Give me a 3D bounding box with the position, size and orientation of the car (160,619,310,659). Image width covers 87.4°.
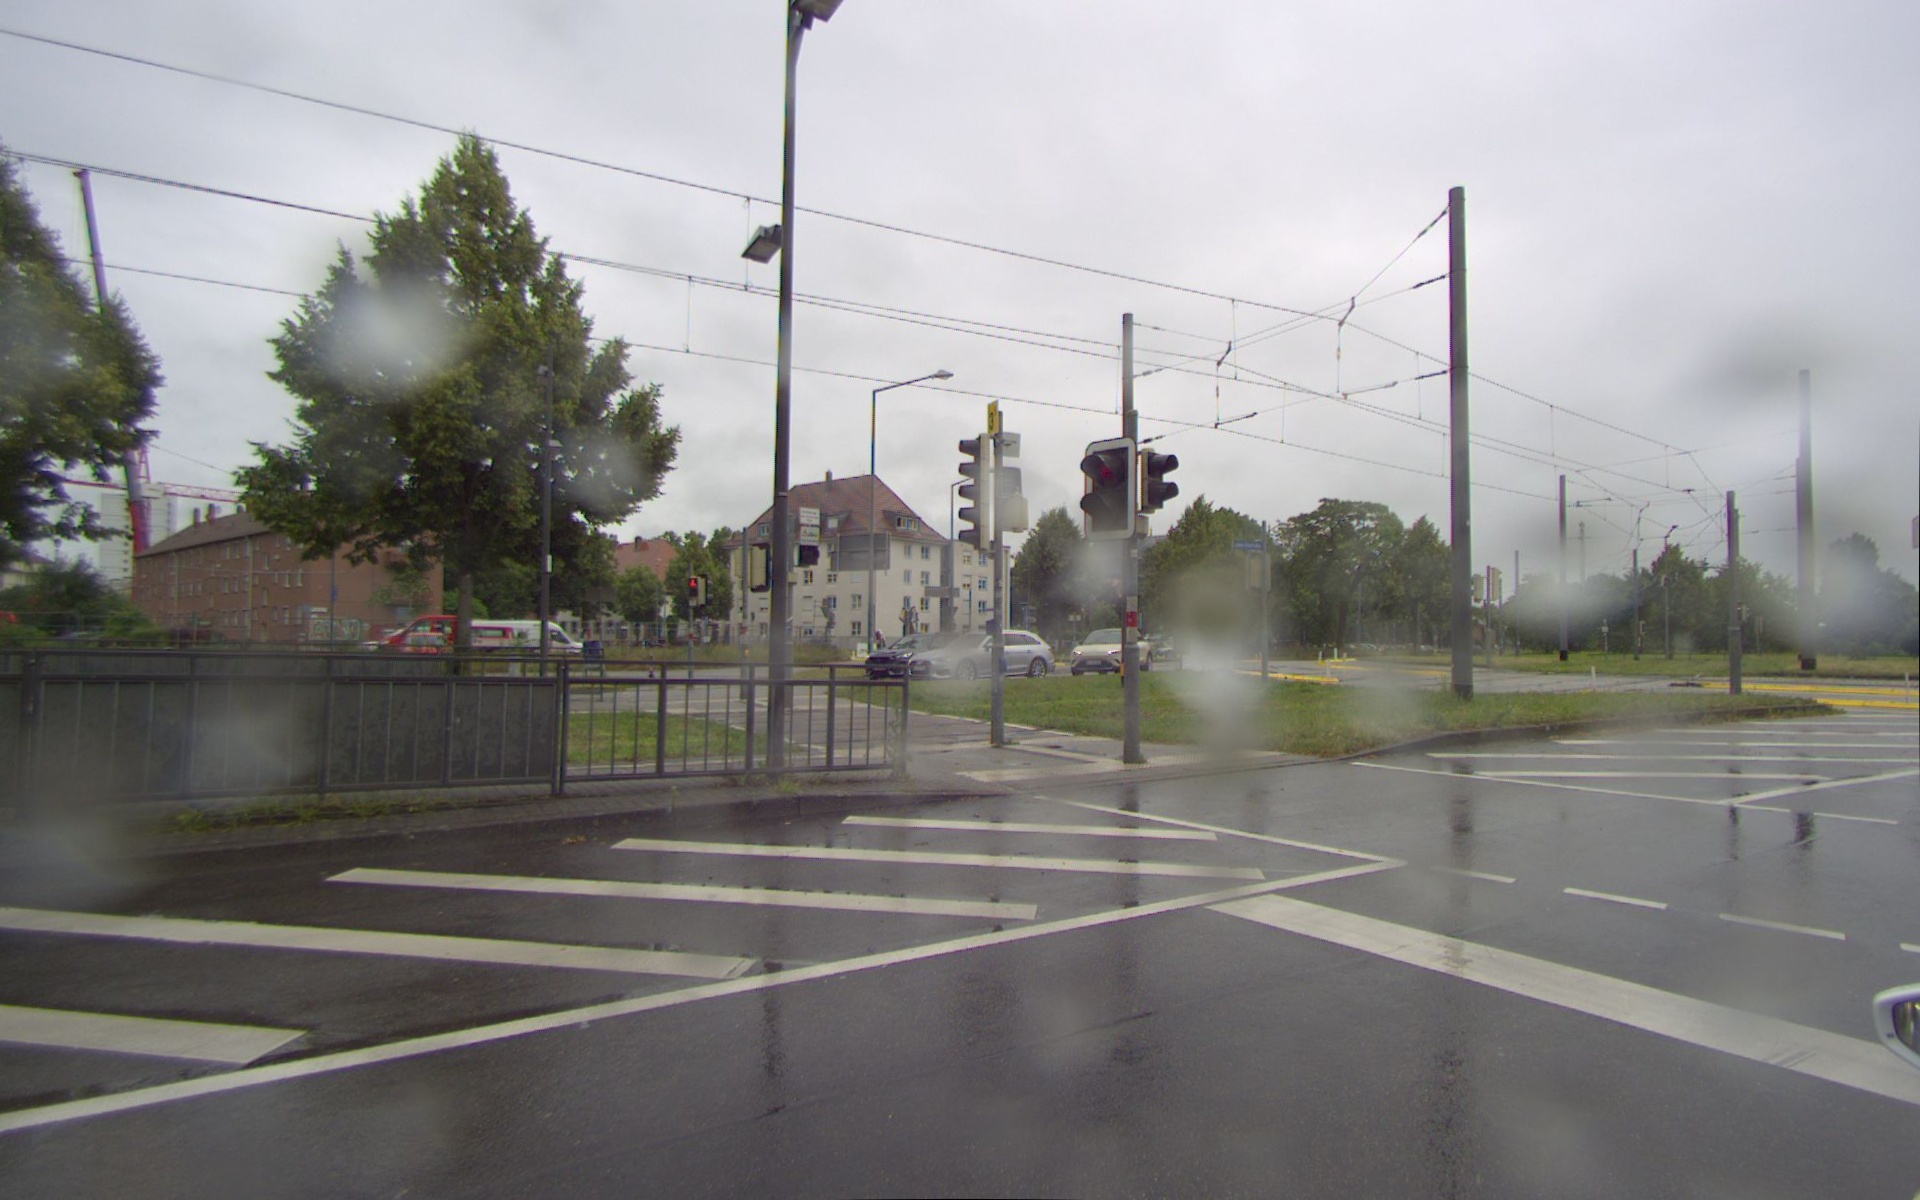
[{"bbox_3d":[-39.631,2.115,55.062,2.325,2.040,6.388,2,0,44],"label":"car"}]

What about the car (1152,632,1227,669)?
[{"bbox_3d":[16.247,3.563,71.288,4.750,2.358,1.998,2,0,-6],"label":"car"}]

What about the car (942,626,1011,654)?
[{"bbox_3d":[1.213,2.968,75.075,4.747,1.835,1.999,2,0,22],"label":"car"}]

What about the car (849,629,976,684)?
[{"bbox_3d":[-1.391,1.701,31.087,1.802,1.506,3.985,2,0,37],"label":"car"}]

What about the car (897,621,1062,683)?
[{"bbox_3d":[0.606,1.371,27.420,4.597,1.506,1.807,2,0,-45],"label":"car"}]

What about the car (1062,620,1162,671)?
[{"bbox_3d":[5.080,1.446,33.109,1.819,1.506,4.217,2,0,31],"label":"car"}]

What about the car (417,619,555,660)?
[{"bbox_3d":[-24.917,2.091,53.131,6.329,2.040,2.347,1,-2,-20],"label":"car"}]

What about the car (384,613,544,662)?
[{"bbox_3d":[-22.767,1.729,46.452,6.329,2.040,2.346,2,0,-20],"label":"car"}]

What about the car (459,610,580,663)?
[{"bbox_3d":[-26.060,2.165,59.754,6.329,2.978,2.346,2,0,-20],"label":"car"}]
